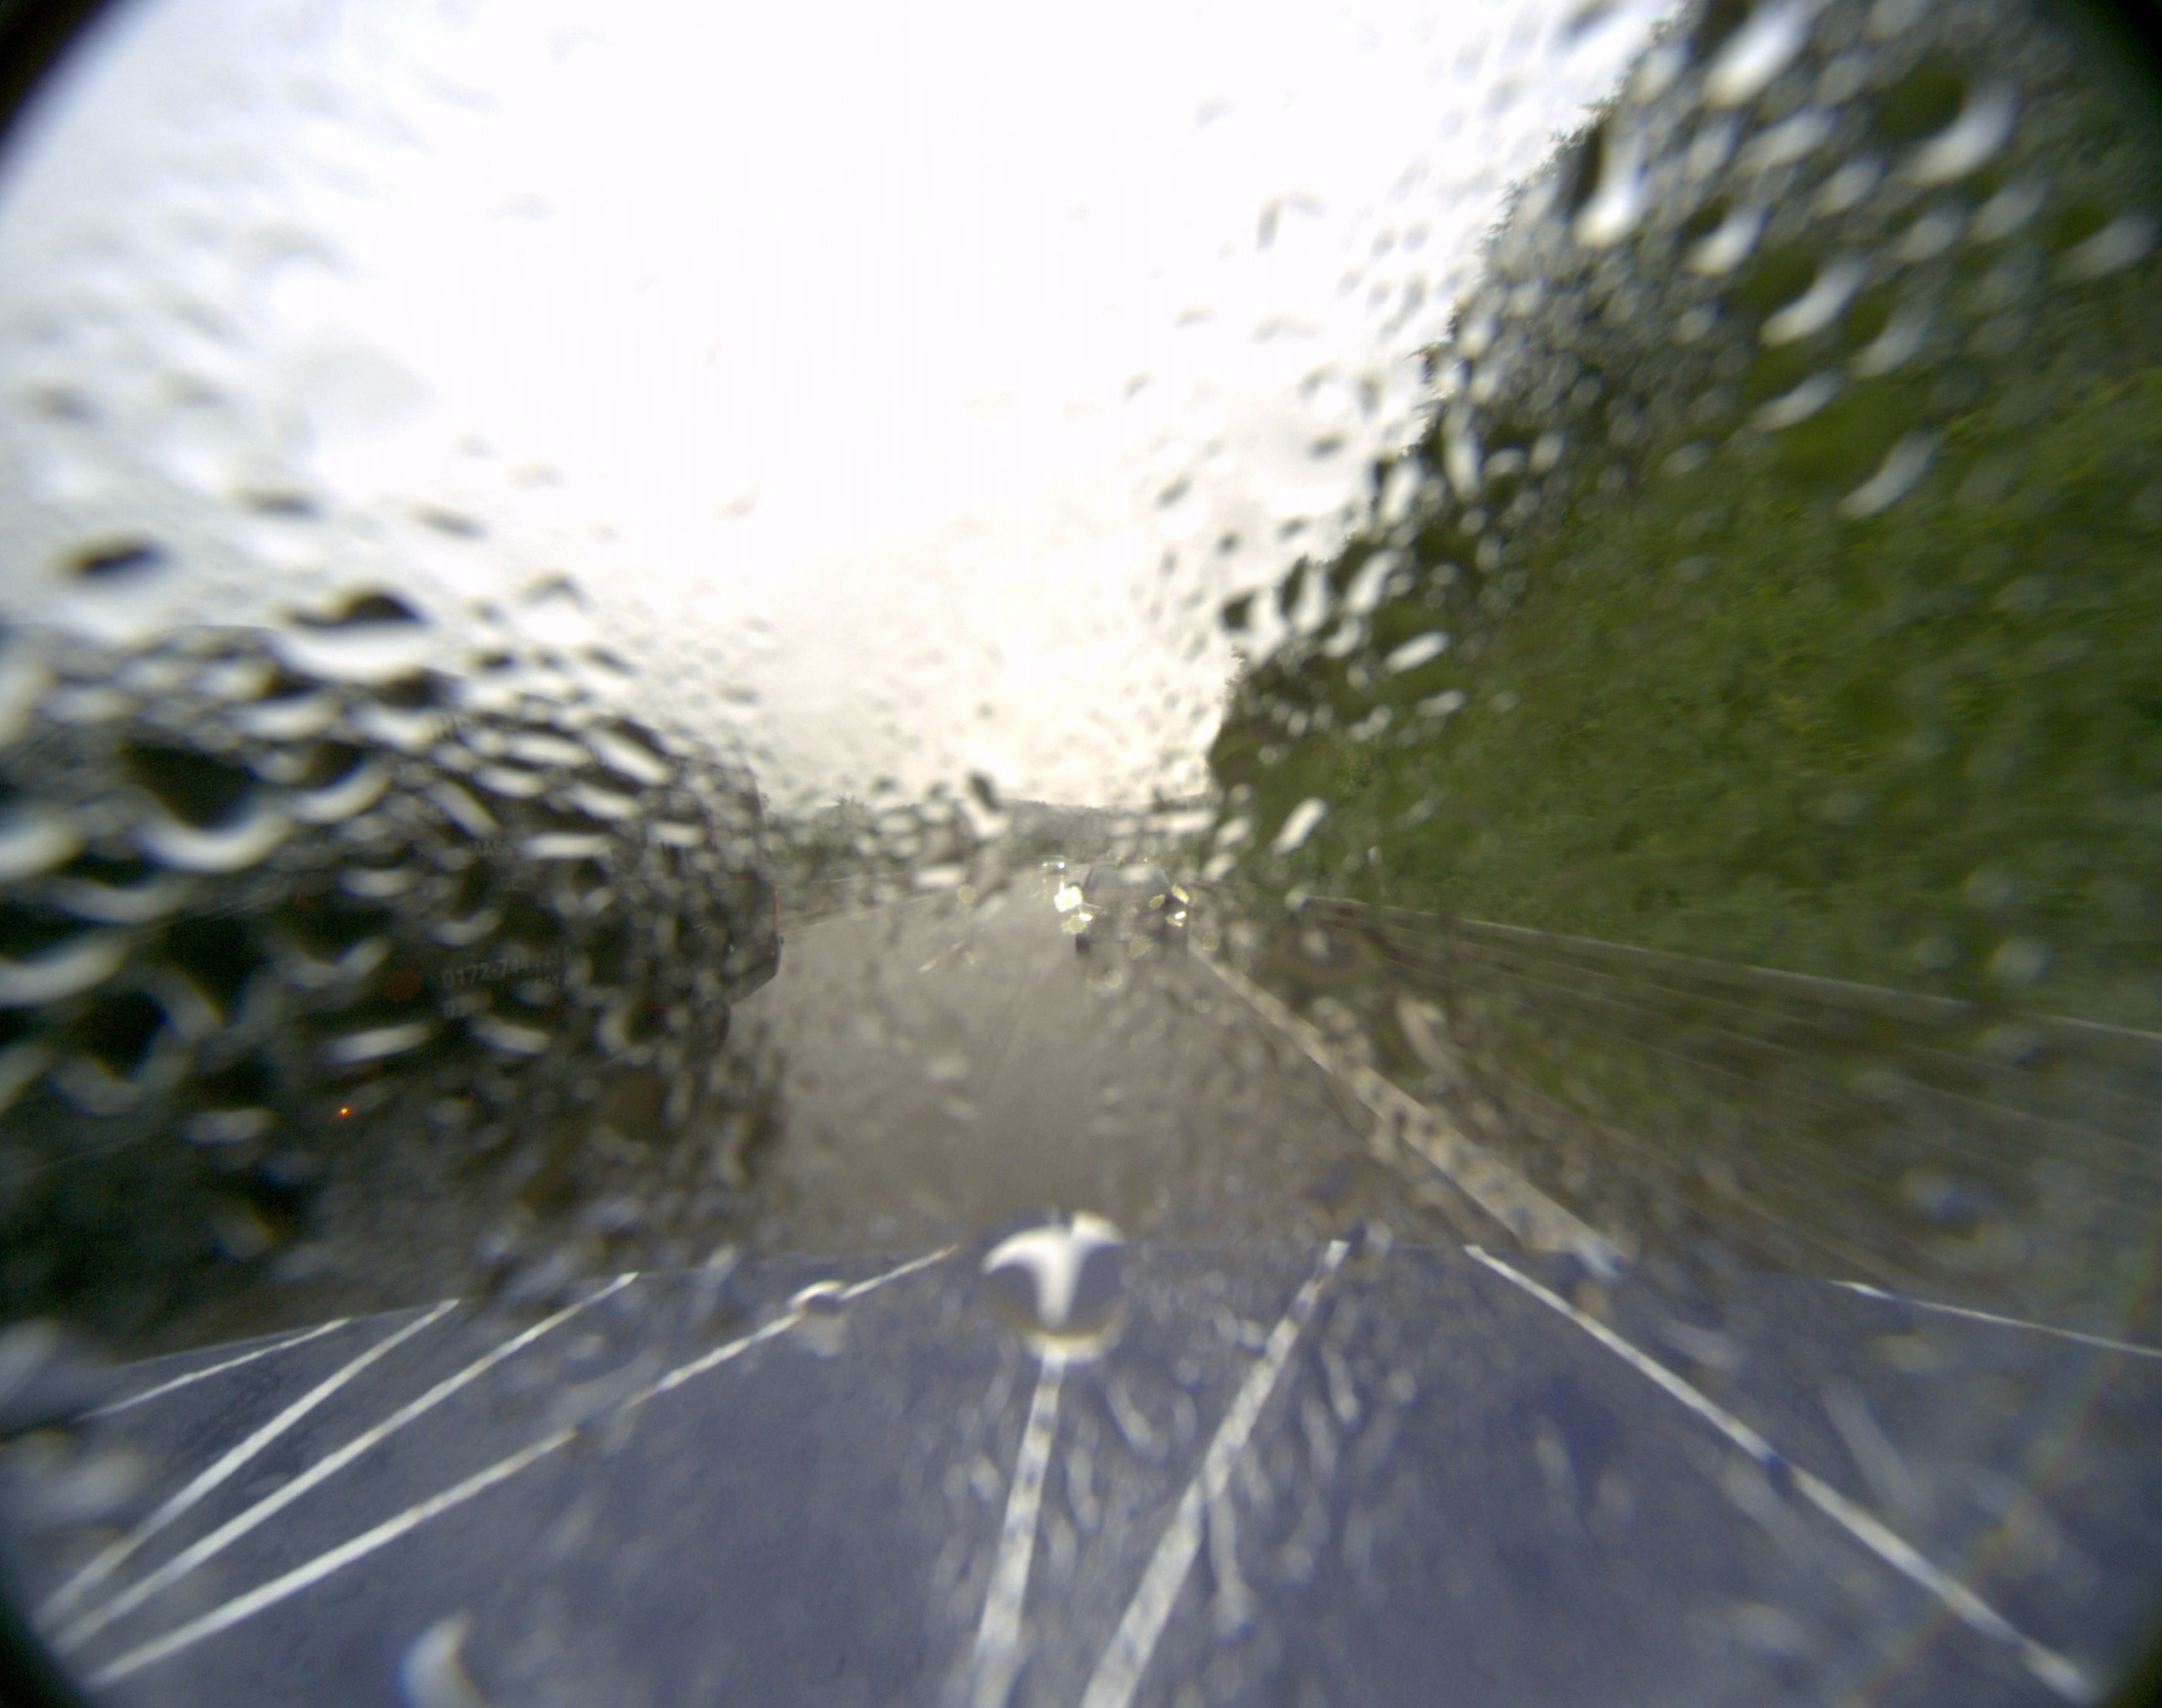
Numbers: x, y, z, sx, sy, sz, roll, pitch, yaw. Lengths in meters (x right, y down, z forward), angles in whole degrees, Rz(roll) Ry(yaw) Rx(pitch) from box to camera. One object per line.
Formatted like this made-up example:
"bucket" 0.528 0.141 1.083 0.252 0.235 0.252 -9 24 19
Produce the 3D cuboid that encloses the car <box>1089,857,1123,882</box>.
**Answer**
"car" 1.492 0.852 44.152 1.712 1.316 3.946 -1 1 6

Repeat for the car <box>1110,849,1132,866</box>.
"car" 3.898 0.299 73.470 1.905 1.545 4.565 -3 0 6

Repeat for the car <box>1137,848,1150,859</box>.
"car" 9.215 -0.063 112.455 1.657 1.535 3.665 -3 1 7

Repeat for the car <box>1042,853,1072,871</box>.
"car" -1.919 0.628 62.395 1.990 1.407 4.565 -1 0 5

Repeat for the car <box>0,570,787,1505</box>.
"car" -3.866 0.477 3.968 1.998 2.480 6.704 -1 1 0

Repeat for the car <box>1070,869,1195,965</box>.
"car" 0.817 0.980 13.352 1.839 1.316 4.135 -1 0 1

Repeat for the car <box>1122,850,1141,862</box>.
"car" 6.210 0.244 92.483 1.989 1.316 4.145 -3 0 8
